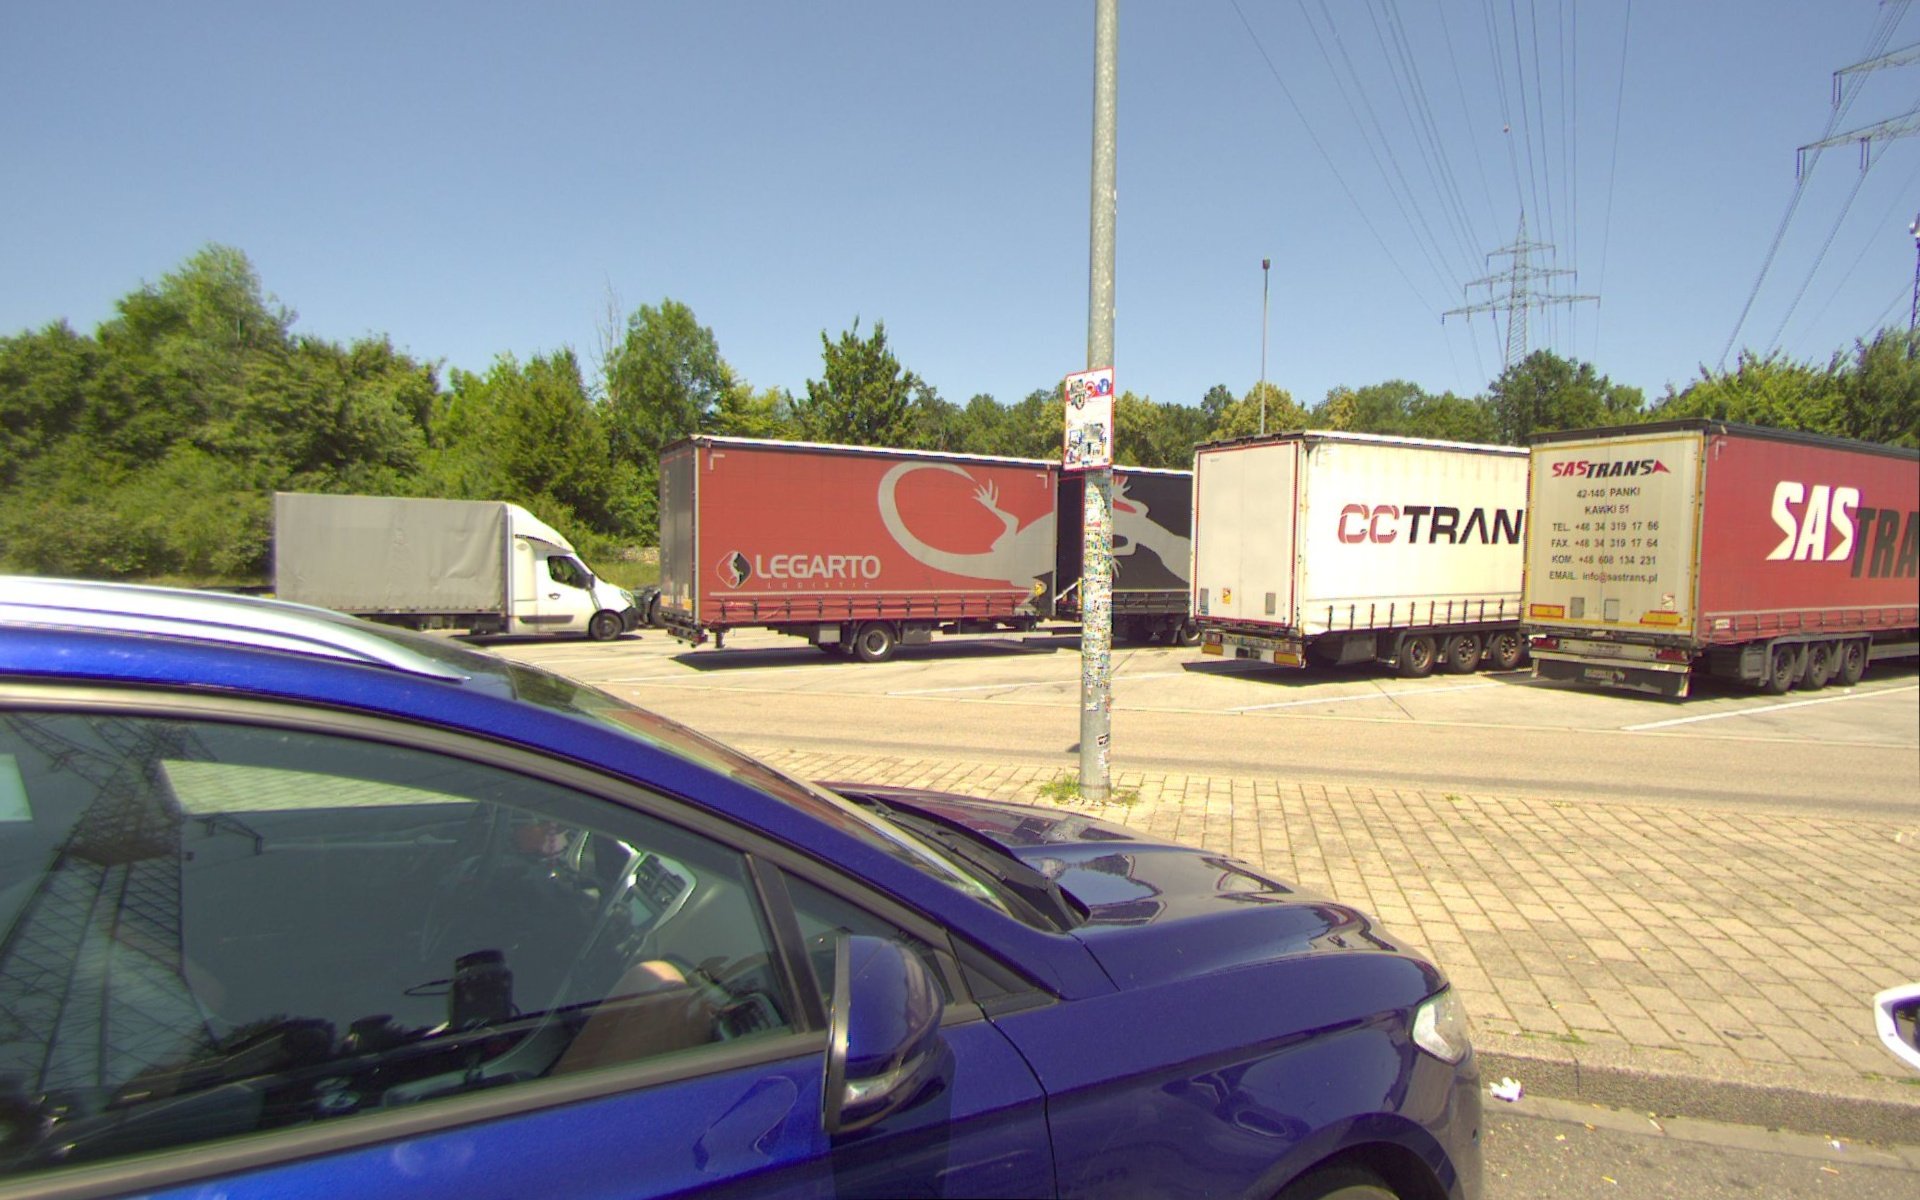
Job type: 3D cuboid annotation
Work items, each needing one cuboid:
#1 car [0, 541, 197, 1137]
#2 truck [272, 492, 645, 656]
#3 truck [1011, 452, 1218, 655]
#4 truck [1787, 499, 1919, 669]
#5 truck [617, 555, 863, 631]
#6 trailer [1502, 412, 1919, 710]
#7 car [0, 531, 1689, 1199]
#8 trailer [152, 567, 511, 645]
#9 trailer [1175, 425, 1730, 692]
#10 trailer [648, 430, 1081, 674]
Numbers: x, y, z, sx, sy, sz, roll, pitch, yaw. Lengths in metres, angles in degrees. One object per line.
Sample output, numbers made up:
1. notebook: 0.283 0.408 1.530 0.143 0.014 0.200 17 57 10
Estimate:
1. car: -4.605 0.598 2.230 4.444 1.520 1.762 0 2 -32
2. truck: -11.185 -0.622 23.028 7.204 3.279 2.727 -1 3 -29
3. truck: 3.574 -1.067 23.455 3.947 4.298 2.723 -1 3 -30
4. truck: 21.214 -0.398 22.010 5.829 3.373 2.837 -1 3 -30
5. truck: -6.343 -0.227 29.278 6.733 2.041 1.987 -1 1 -26
6. trailer: 15.611 -0.696 18.732 13.962 4.141 2.777 -1 3 -30
7. car: -1.029 0.674 1.498 4.444 1.511 1.859 0 2 -32
8. trailer: -15.160 0.060 24.897 7.204 1.711 2.249 -1 3 -29
9. trailer: 10.591 -0.803 20.342 13.962 4.141 2.782 -1 3 -30
10. trailer: -1.738 -0.900 20.333 8.376 4.141 2.722 -1 3 -30
